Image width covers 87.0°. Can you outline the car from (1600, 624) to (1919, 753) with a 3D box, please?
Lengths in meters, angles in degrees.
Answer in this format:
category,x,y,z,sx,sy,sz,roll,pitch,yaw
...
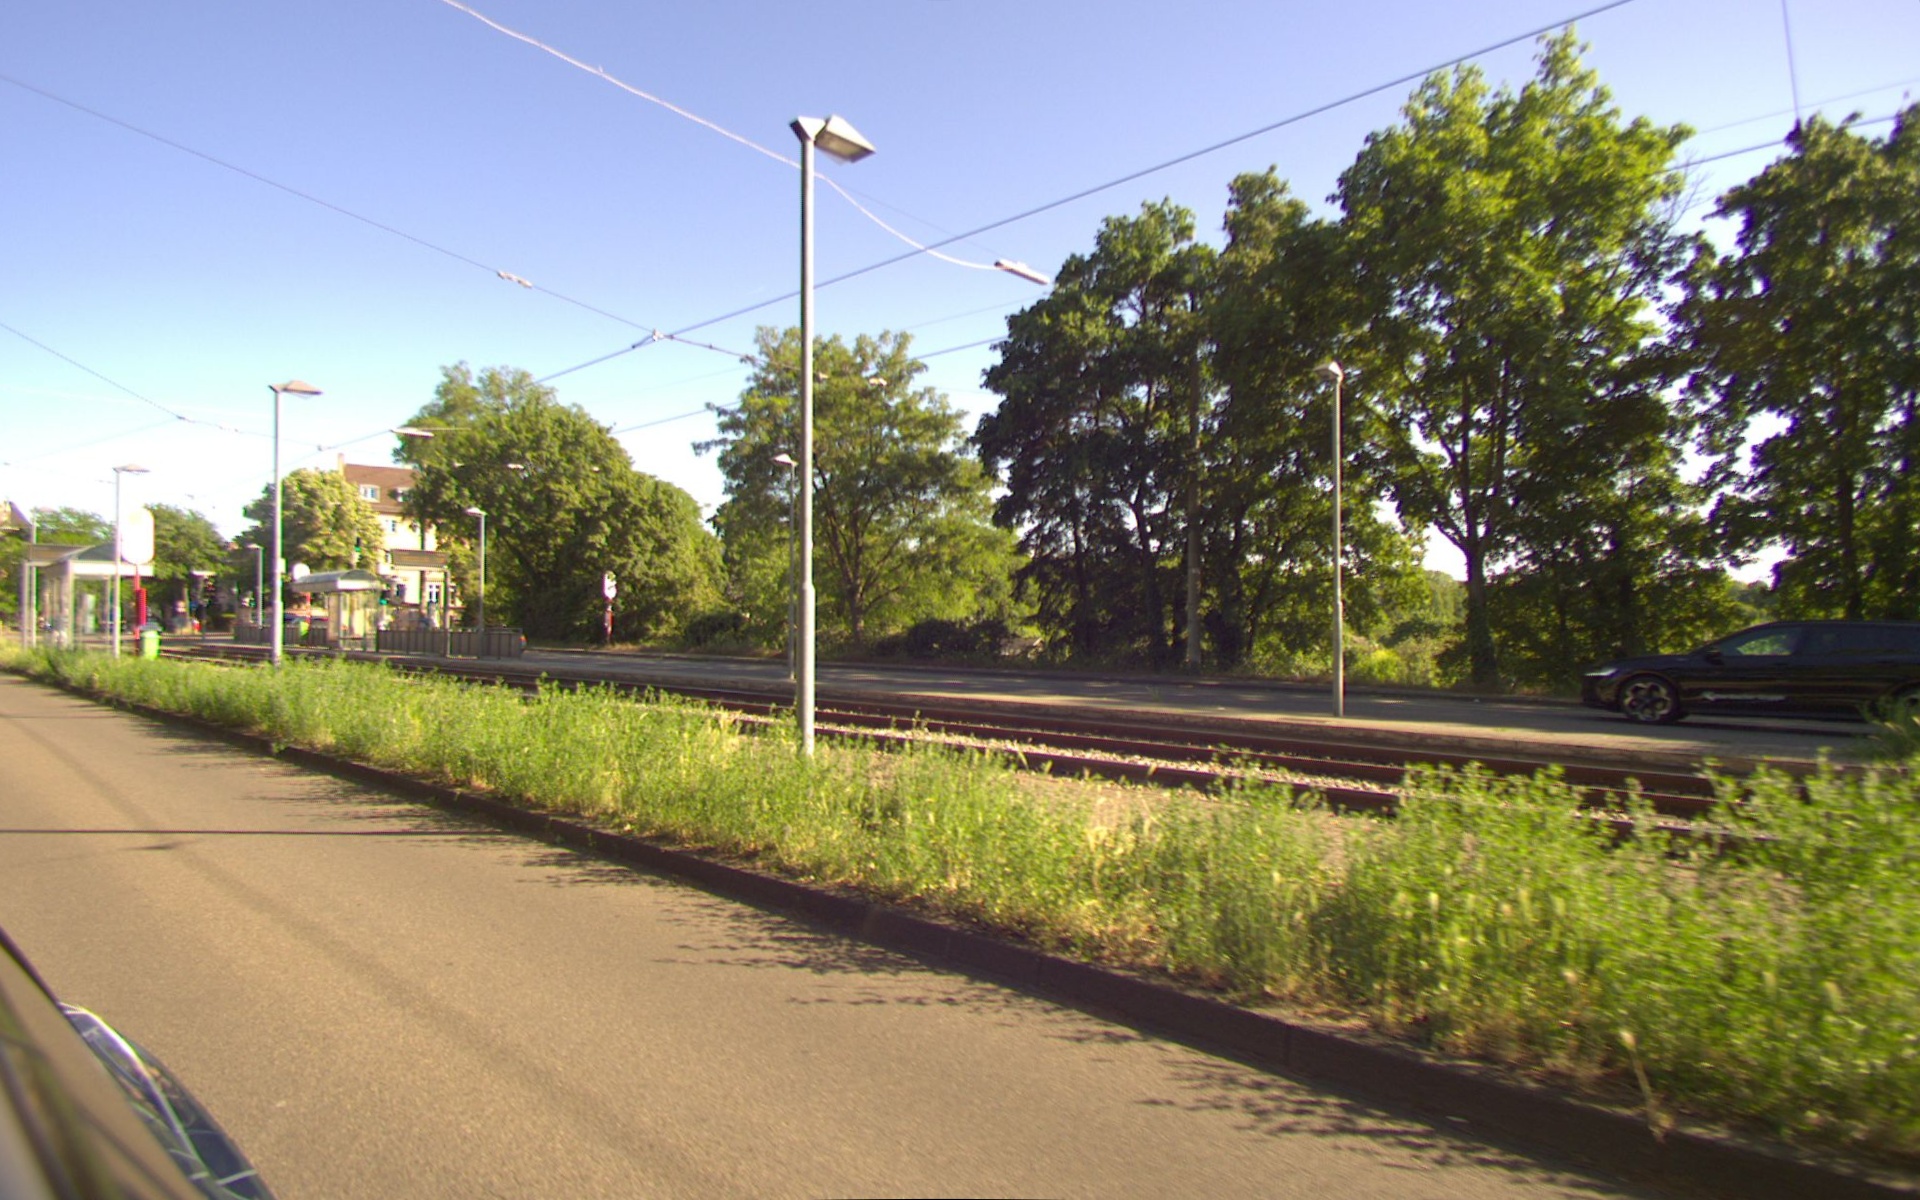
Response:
category,x,y,z,sx,sy,sz,roll,pitch,yaw
car,11.201,1.114,13.222,4.592,1.506,1.619,-1,-4,43

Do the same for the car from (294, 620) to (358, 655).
category,x,y,z,sx,sy,sz,roll,pitch,yaw
car,-29.752,1.726,47.472,3.673,1.569,1.592,-1,0,42

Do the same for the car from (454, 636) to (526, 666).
category,x,y,z,sx,sy,sz,roll,pitch,yaw
car,-20.007,2.126,43.027,3.675,1.126,1.473,-1,0,42

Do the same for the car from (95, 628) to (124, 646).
category,x,y,z,sx,sy,sz,roll,pitch,yaw
car,-77.473,3.384,92.170,1.827,1.497,3.550,0,0,-44

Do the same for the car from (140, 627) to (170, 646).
category,x,y,z,sx,sy,sz,roll,pitch,yaw
car,-62.673,2.809,78.774,1.825,1.389,3.446,0,0,-39
